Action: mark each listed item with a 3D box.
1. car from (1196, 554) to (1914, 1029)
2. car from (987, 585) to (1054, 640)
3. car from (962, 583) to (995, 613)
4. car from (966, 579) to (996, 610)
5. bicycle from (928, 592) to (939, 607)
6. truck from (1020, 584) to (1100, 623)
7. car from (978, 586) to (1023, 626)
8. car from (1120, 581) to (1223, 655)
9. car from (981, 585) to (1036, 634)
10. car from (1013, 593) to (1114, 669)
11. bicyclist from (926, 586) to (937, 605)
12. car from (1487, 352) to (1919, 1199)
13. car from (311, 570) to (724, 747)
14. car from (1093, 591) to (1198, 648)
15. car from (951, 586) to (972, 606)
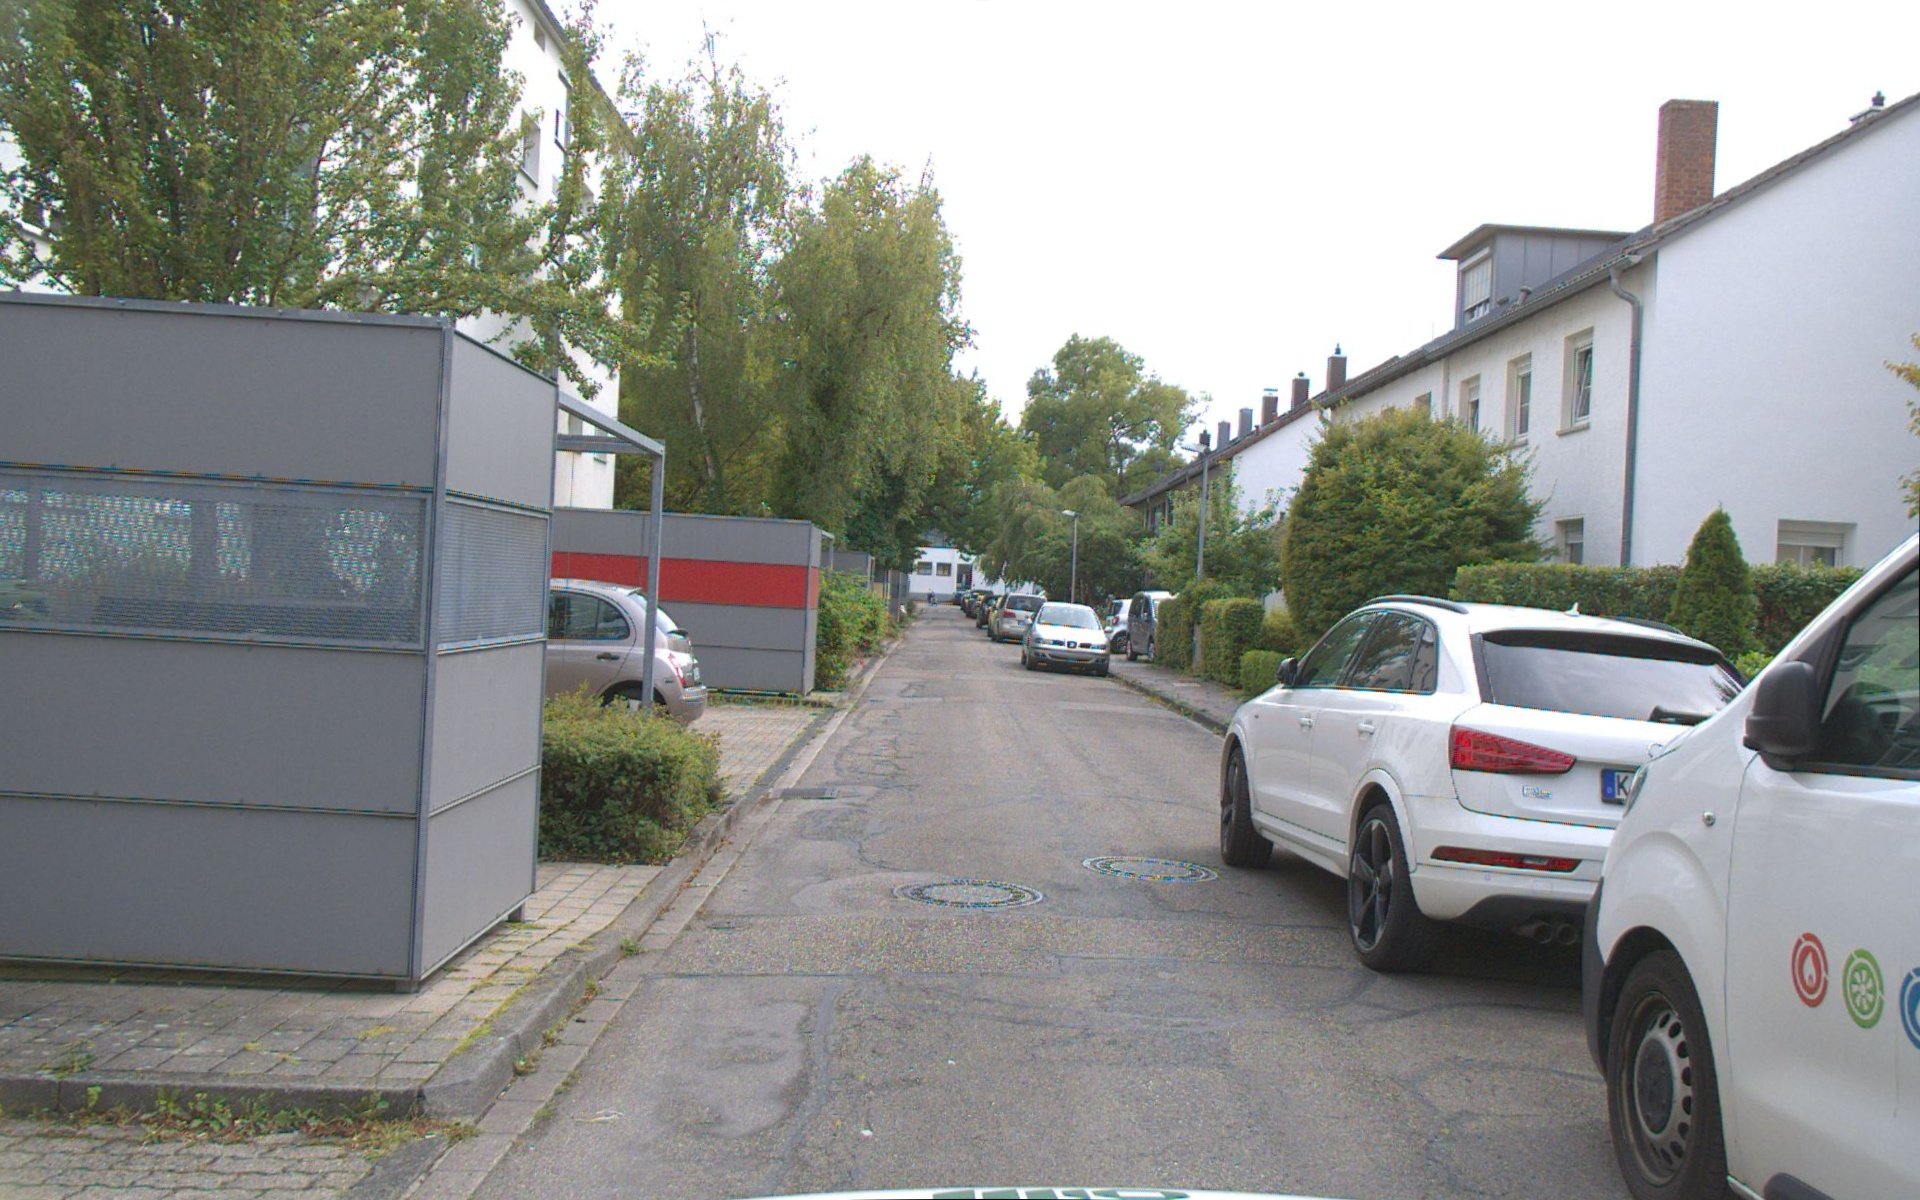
[{"bbox_3d":[2.539,0.708,8.268,1.789,1.664,4.159,4,0,-4],"label":"car"},{"bbox_3d":[1.937,0.375,54.238,1.789,1.608,3.999,5,0,-2],"label":"car"},{"bbox_3d":[1.105,-0.150,99.648,1.788,1.608,4.000,5,0,0],"label":"car"},{"bbox_3d":[1.392,-0.375,111.253,1.788,1.915,4.000,5,0,0],"label":"car"},{"bbox_3d":[-2.231,-0.036,139.473,0.675,1.151,2.579,4,0,1],"label":"bicycle"},{"bbox_3d":[5.591,0.186,92.768,4.301,2.049,1.999,1,0,-2],"label":"truck"},{"bbox_3d":[1.788,0.255,74.475,1.788,1.608,4.192,5,0,0],"label":"car"},{"bbox_3d":[5.370,0.452,42.501,1.789,1.808,4.337,0,0,-4],"label":"car"},{"bbox_3d":[1.782,0.317,61.410,1.788,1.608,4.000,5,0,0],"label":"car"},{"bbox_3d":[2.173,0.616,35.716,1.788,1.394,4.330,5,0,0],"label":"car"},{"bbox_3d":[-2.394,-0.387,139.562,0.782,1.537,0.934,4,0,1],"label":"bicyclist"},{"bbox_3d":[2.697,0.599,2.559,1.865,1.998,5.252,4,0,-1],"label":"car"},{"bbox_3d":[-4.074,0.526,15.690,3.492,1.506,1.709,2,0,-5],"label":"car"},{"bbox_3d":[5.366,0.543,48.065,2.760,1.596,1.740,1,0,-3],"label":"car"},{"bbox_3d":[0.155,-0.372,152.110,1.788,1.608,4.000,5,0,0],"label":"car"}]
